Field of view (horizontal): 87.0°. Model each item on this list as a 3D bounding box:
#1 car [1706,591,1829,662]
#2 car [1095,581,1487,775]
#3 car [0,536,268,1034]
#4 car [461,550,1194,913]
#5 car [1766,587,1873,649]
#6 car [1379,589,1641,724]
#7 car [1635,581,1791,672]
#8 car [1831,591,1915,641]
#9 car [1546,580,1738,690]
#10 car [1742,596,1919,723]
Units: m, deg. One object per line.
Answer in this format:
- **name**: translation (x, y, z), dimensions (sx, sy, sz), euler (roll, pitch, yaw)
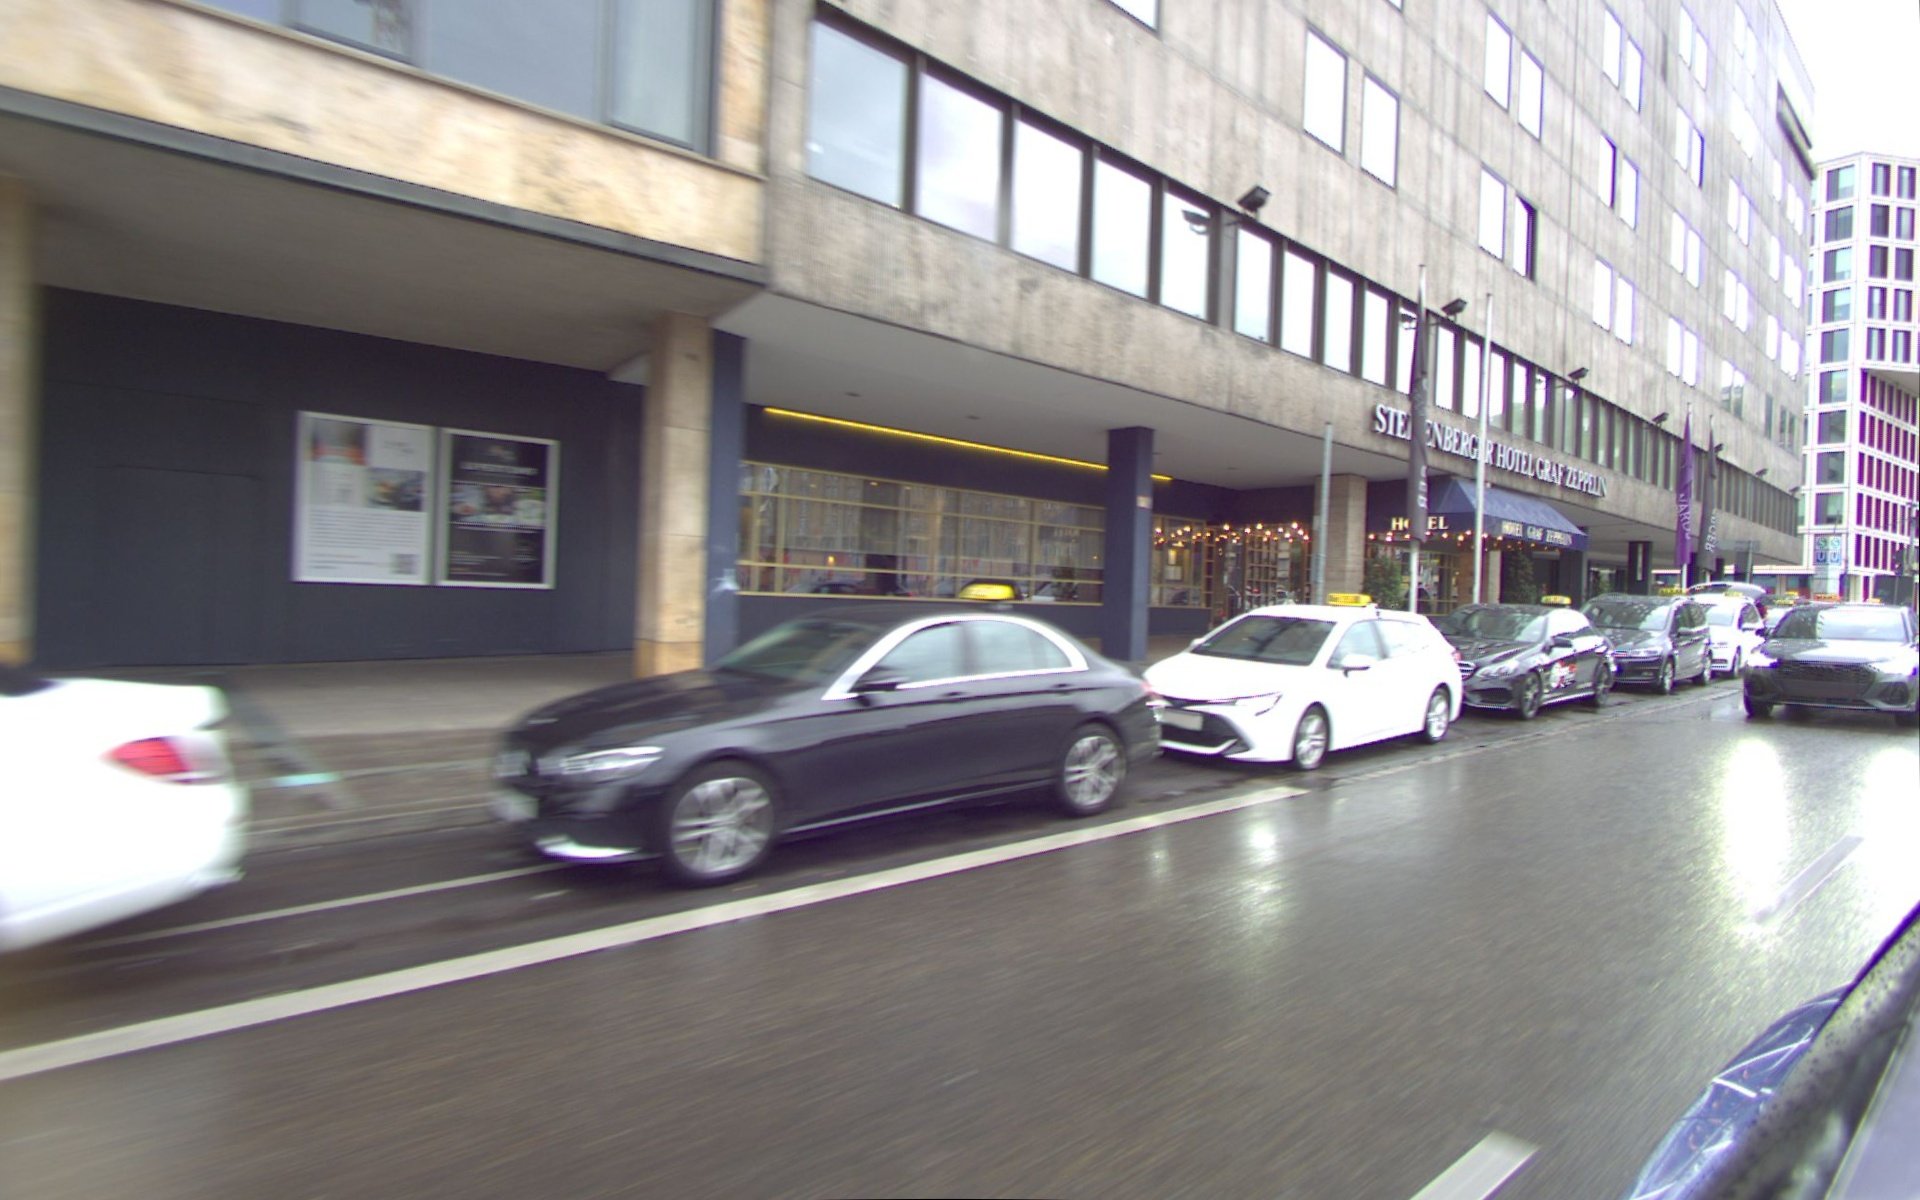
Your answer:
- **car**: translation (20.312, 0.605, 25.403), dimensions (3.931, 1.634, 1.729), euler (-1, 0, -41)
- **car**: translation (3.639, 0.625, 10.595), dimensions (4.730, 1.612, 1.729), euler (-1, 0, -41)
- **car**: translation (-5.100, 0.628, 2.958), dimensions (4.924, 1.658, 1.878), euler (-1, 0, -41)
- **car**: translation (-0.603, 0.581, 6.898), dimensions (4.730, 1.658, 1.878), euler (-1, 0, -41)
- **car**: translation (24.297, 0.464, 28.573), dimensions (3.931, 1.634, 1.729), euler (-1, 0, -41)
- **car**: translation (7.923, 0.658, 14.376), dimensions (4.730, 1.612, 1.729), euler (-1, 0, -41)
- **car**: translation (16.278, 0.494, 21.795), dimensions (4.730, 1.764, 1.729), euler (-1, 0, -41)
- **car**: translation (31.882, 0.518, 35.304), dimensions (3.931, 1.634, 1.729), euler (-1, 0, -41)
- **car**: translation (12.471, 0.534, 18.390), dimensions (4.730, 1.764, 1.729), euler (-1, 0, -41)
- **car**: translation (12.864, 0.721, 14.406), dimensions (4.266, 1.520, 1.882), euler (-1, 0, -40)
